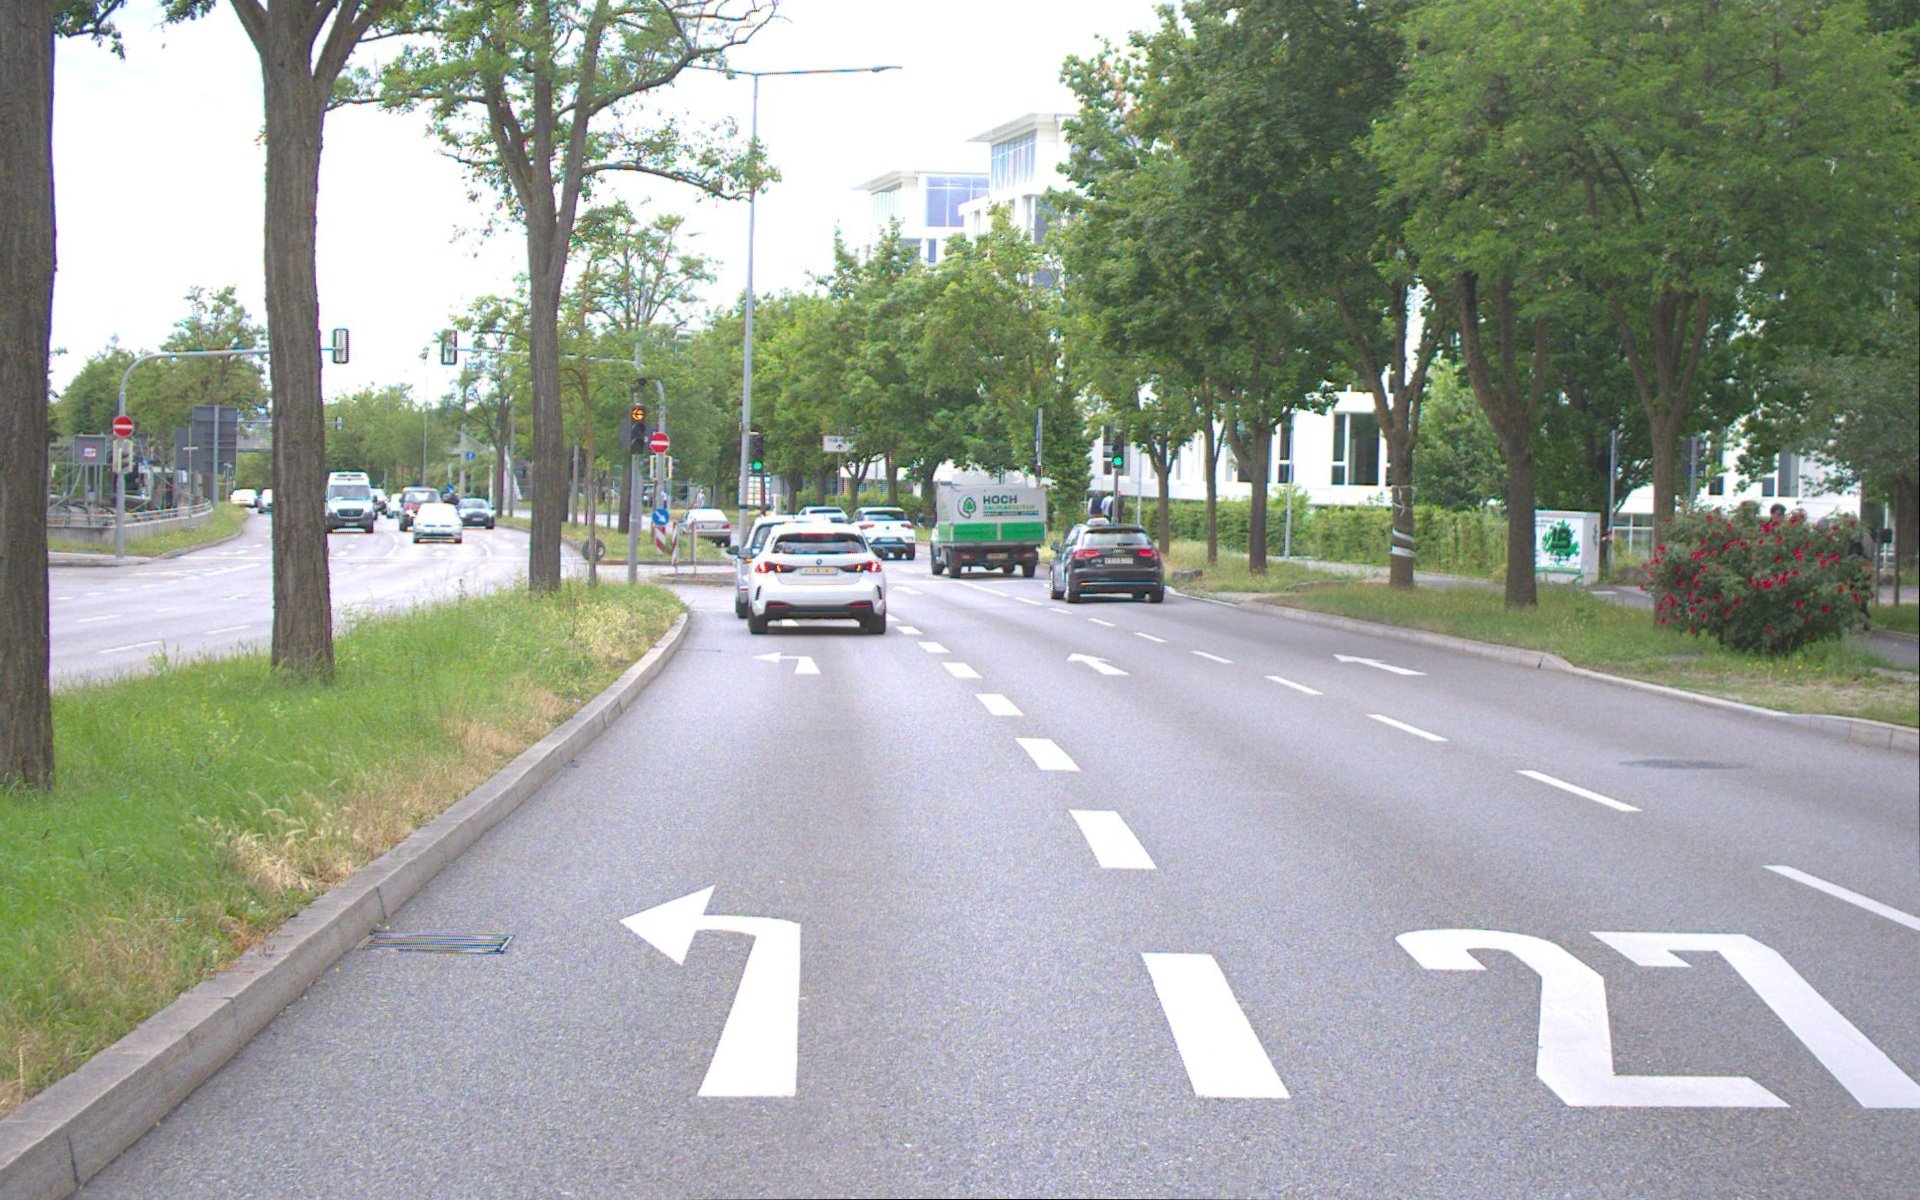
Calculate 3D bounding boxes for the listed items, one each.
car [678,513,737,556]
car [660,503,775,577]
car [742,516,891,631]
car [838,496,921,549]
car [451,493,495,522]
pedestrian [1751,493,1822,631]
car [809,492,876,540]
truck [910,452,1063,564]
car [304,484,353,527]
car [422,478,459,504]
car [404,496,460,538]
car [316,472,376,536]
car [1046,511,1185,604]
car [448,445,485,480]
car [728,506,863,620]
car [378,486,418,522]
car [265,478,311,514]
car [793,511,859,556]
[{"bbox_3d":[-9.106,-2.371,123.849,1.993,1.485,4.001,2,1,-6],"label":"car"},{"bbox_3d":[-5.164,-1.285,73.698,1.994,1.503,4.000,1,1,2],"label":"car"},{"bbox_3d":[-1.892,-0.376,46.404,1.863,1.444,4.000,1,1,-1],"label":"car"},{"bbox_3d":[-2.422,-2.320,102.680,1.993,1.503,4.001,1,1,-8],"label":"car"},{"bbox_3d":[-22.946,-4.345,162.161,1.753,1.366,3.780,0,1,-3],"label":"car"},{"bbox_3d":[10.991,-0.514,45.734,0.608,1.769,0.954,1,3,-3],"label":"pedestrian"},{"bbox_3d":[-3.958,-2.834,115.237,1.993,1.503,4.001,2,2,-5],"label":"car"},{"bbox_3d":[0.556,-2.157,82.041,2.858,2.511,6.289,1,1,-7],"label":"truck"},{"bbox_3d":[-31.491,-4.729,171.630,1.993,2.004,4.325,3,1,-6],"label":"car"},{"bbox_3d":[-34.550,-7.234,228.706,1.993,1.612,4.001,3,1,-3],"label":"car"},{"bbox_3d":[-19.459,-3.065,126.831,1.752,1.439,4.136,3,1,-6],"label":"car"},{"bbox_3d":[-26.513,-4.134,148.574,1.993,2.625,5.876,3,1,-6],"label":"car"},{"bbox_3d":[2.778,-0.793,62.304,1.993,1.590,4.001,1,1,-5],"label":"car"},{"bbox_3d":[-30.273,-8.430,210.851,1.993,2.004,4.325,3,1,-6],"label":"car"},{"bbox_3d":[-2.547,-0.581,53.503,1.993,1.666,4.000,1,1,-2],"label":"car"},{"bbox_3d":[-32.582,-5.561,199.388,1.993,2.004,4.325,3,1,-6],"label":"car"},{"bbox_3d":[-36.590,-5.641,187.324,1.993,1.846,4.325,3,1,-6],"label":"car"},{"bbox_3d":[-4.627,-2.301,118.296,1.993,1.485,4.001,2,1,-6],"label":"car"}]
